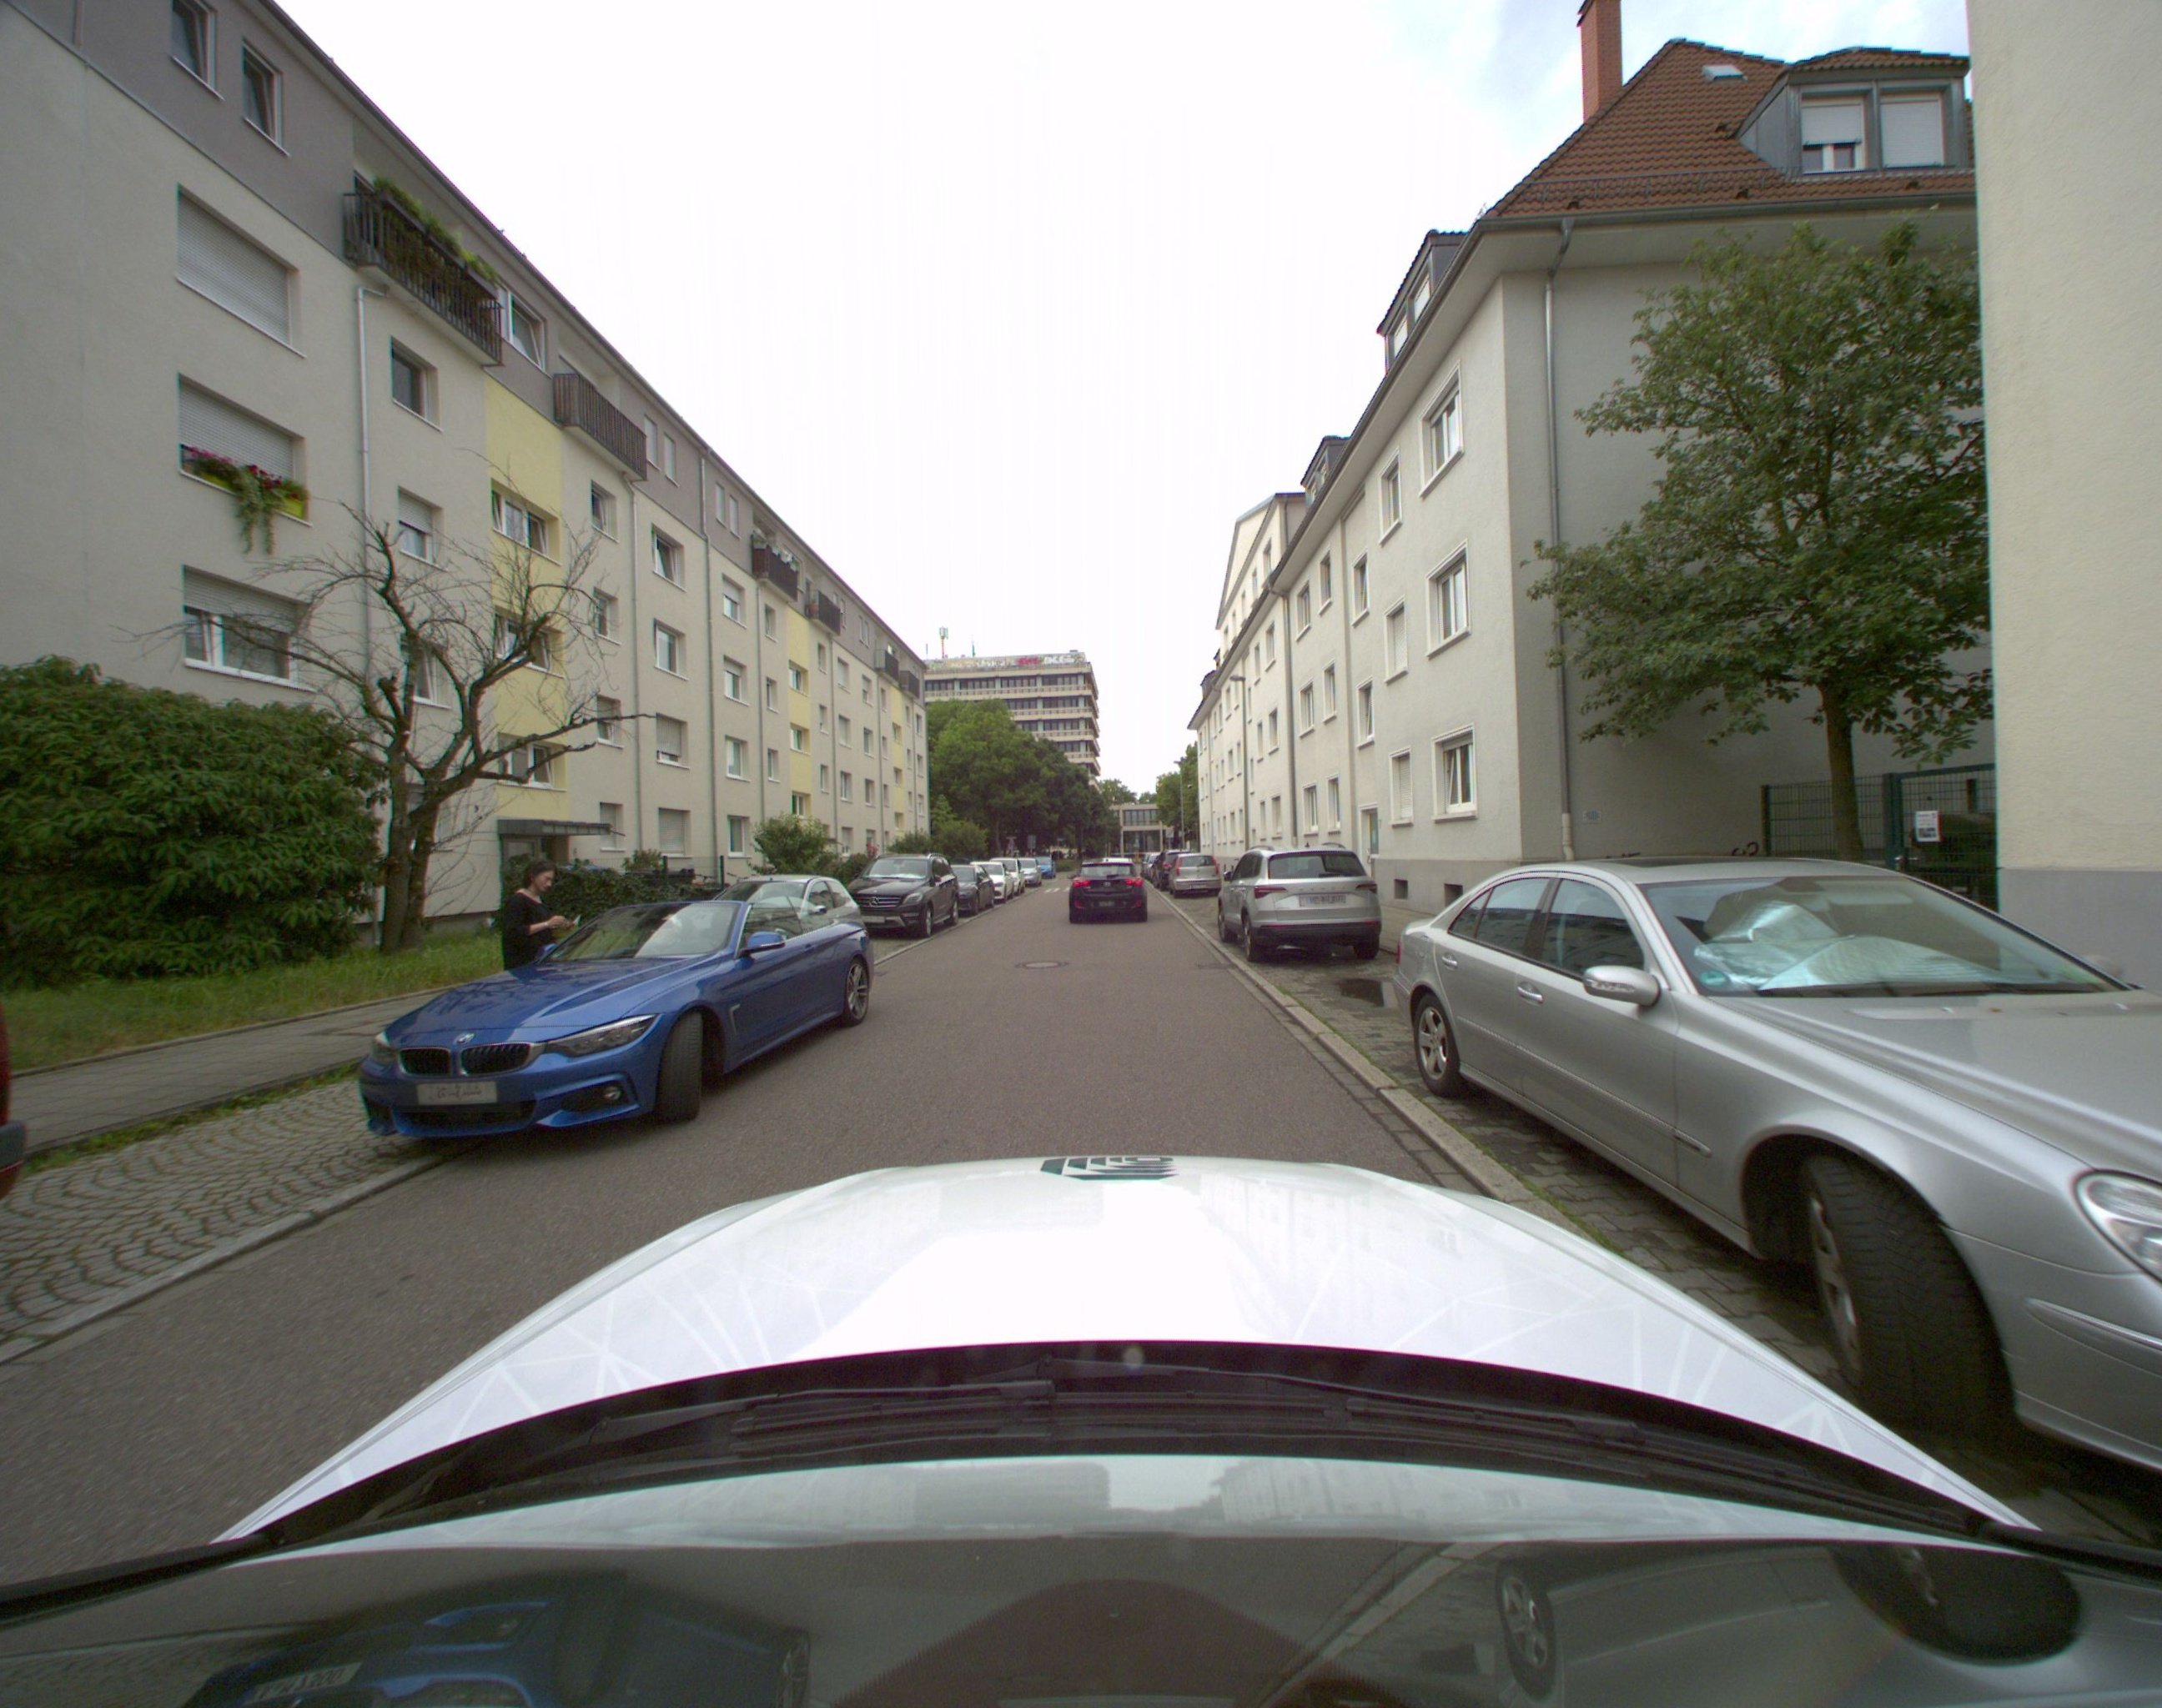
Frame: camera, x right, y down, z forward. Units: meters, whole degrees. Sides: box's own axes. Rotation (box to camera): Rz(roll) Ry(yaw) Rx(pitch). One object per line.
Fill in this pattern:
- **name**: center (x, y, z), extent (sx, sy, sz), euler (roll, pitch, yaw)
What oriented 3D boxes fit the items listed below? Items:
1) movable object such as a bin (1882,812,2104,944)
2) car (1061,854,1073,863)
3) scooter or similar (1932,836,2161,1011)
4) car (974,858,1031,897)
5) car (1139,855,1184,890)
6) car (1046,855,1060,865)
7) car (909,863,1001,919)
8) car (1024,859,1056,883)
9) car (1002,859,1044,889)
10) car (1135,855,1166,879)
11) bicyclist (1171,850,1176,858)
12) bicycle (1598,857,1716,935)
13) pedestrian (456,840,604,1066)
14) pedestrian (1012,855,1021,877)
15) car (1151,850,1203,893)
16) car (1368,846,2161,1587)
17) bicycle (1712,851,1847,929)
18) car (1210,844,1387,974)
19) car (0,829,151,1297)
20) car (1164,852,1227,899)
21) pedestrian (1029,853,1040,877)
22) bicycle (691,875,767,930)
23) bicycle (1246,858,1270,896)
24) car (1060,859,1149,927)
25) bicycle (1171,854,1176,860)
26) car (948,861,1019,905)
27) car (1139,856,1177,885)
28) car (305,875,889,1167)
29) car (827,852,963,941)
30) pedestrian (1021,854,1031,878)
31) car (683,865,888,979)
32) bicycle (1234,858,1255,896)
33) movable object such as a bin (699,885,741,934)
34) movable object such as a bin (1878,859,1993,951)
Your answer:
- **movable object such as a bin**: center (10.384, 0.263, 9.348), extent (1.132, 1.379, 1.222), euler (-2, -1, 4)
- **car**: center (-2.137, 0.734, 128.558), extent (1.659, 1.333, 3.397), euler (-1, 0, 2)
- **scooter or similar**: center (7.462, 0.508, 6.180), extent (1.266, 1.246, 0.525), euler (-2, 0, 19)
- **car**: center (-3.409, 0.993, 36.219), extent (1.887, 1.599, 4.523), euler (1, 0, 2)
- **car**: center (3.838, 0.844, 39.499), extent (1.813, 1.519, 4.675), euler (-2, 0, 2)
- **car**: center (-3.925, 0.781, 115.163), extent (1.659, 1.333, 3.397), euler (-1, 0, 2)
- **car**: center (-3.692, 1.046, 24.726), extent (1.887, 1.452, 4.669), euler (1, 0, 2)
- **car**: center (-2.848, 1.163, 56.849), extent (1.987, 1.541, 3.999), euler (-1, 0, 0)
- **car**: center (-3.098, 1.030, 44.488), extent (1.987, 1.541, 3.999), euler (-1, 0, 0)
- **car**: center (4.753, 0.909, 56.051), extent (1.813, 1.519, 4.675), euler (-2, -1, 2)
- **bicyclist**: center (16.378, 0.026, 144.396), extent (0.690, 1.444, 0.796), euler (-1, 0, 3)
- **bicycle**: center (8.242, 0.591, 11.677), extent (1.287, 1.062, 0.498), euler (-2, -1, 4)
- **pedestrian**: center (-4.475, 0.755, 6.679), extent (0.742, 1.701, 0.792), euler (-2, -1, -15)
- **pedestrian**: center (-4.960, 0.910, 62.493), extent (0.598, 1.713, 0.649), euler (-1, 0, 4)
- **car**: center (3.857, 0.689, 33.213), extent (1.813, 1.603, 4.094), euler (-2, 0, 3)
- **car**: center (2.929, 0.727, 3.869), extent (1.718, 1.476, 4.507), euler (-1, 0, 3)
- **bicycle**: center (9.999, 0.510, 11.687), extent (1.442, 1.062, 0.498), euler (-2, -1, 4)
- **car**: center (3.103, 0.710, 12.464), extent (1.813, 1.642, 4.094), euler (-1, 0, 3)
- **car**: center (-5.081, 0.794, 1.393), extent (1.950, 1.770, 4.361), euler (-1, 0, 0)
- **car**: center (3.948, 0.704, 28.704), extent (1.813, 1.503, 4.094), euler (-2, 0, 3)
- **pedestrian**: center (-3.544, 0.848, 62.395), extent (0.710, 1.831, 0.798), euler (-1, 0, 4)
- **bicycle**: center (-8.830, 1.190, 20.557), extent (0.785, 1.212, 2.356), euler (-2, 0, 2)
- **bicycle**: center (5.819, 0.737, 26.831), extent (0.573, 1.175, 2.041), euler (-3, 0, 8)
- **car**: center (0.625, 0.865, 19.901), extent (1.895, 1.433, 4.236), euler (-2, 0, 3)
- **bicycle**: center (16.386, 0.531, 144.279), extent (0.690, 0.997, 1.736), euler (-1, 0, 3)
- **car**: center (-3.510, 1.020, 30.127), extent (1.887, 1.452, 4.523), euler (1, 0, 2)
- **car**: center (4.267, 0.879, 45.528), extent (1.813, 1.519, 4.675), euler (-2, 0, 2)
- **car**: center (-3.146, 0.957, 6.625), extent (1.837, 1.451, 4.505), euler (-1, 0, 3)
- **car**: center (-4.059, 0.859, 18.581), extent (1.887, 1.740, 4.477), euler (1, 0, 2)
- **pedestrian**: center (-4.251, 0.914, 62.731), extent (0.602, 1.831, 0.676), euler (-1, 0, 4)
- **car**: center (-4.497, 0.959, 13.043), extent (1.737, 1.465, 3.788), euler (-2, 0, 2)
- **bicycle**: center (5.389, 0.742, 26.880), extent (0.527, 1.175, 2.041), euler (-3, 0, 8)
- **movable object such as a bin**: center (-7.584, 1.162, 17.147), extent (0.549, 0.954, 0.635), euler (-3, -1, 2)
- **movable object such as a bin**: center (9.360, 0.542, 8.941), extent (0.552, 0.952, 0.649), euler (-2, -1, 4)
